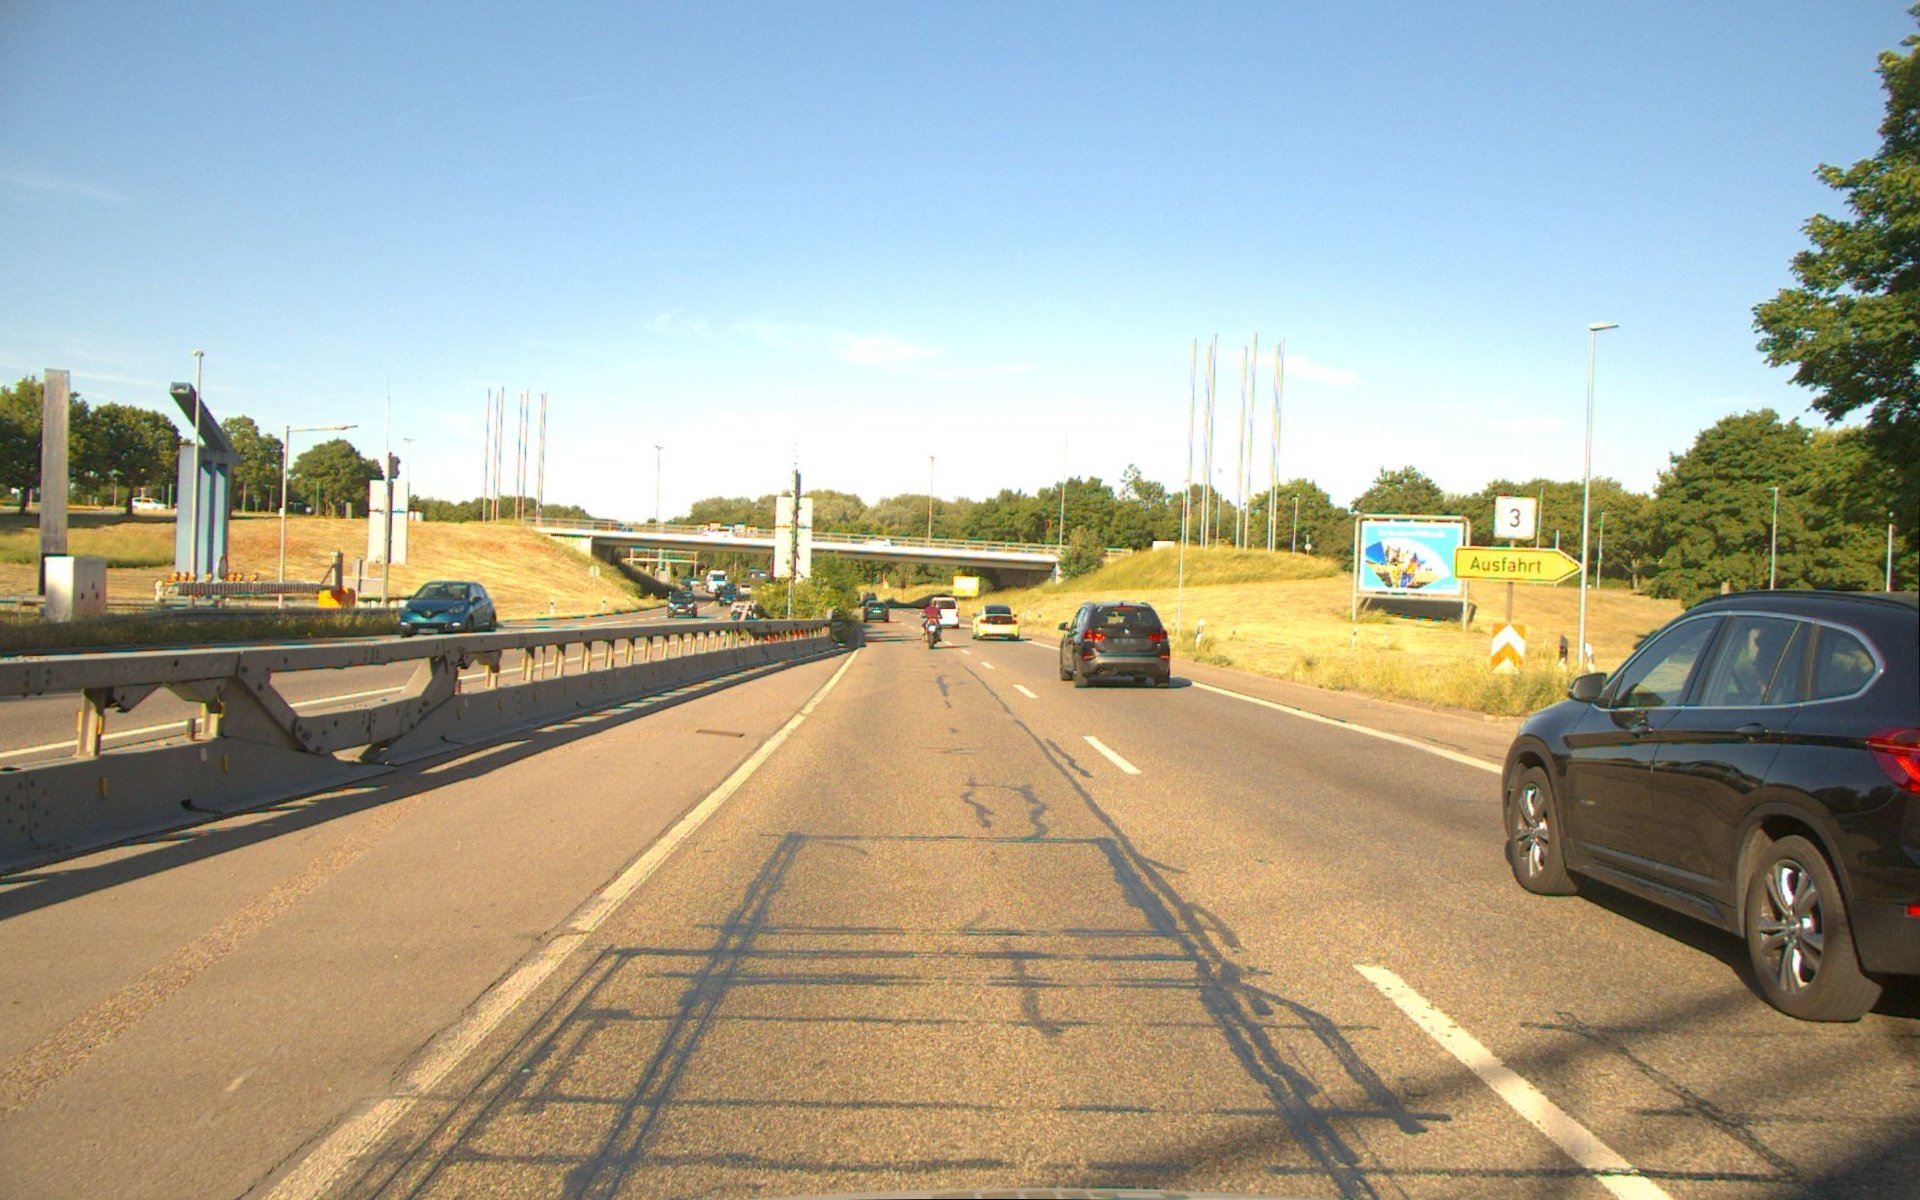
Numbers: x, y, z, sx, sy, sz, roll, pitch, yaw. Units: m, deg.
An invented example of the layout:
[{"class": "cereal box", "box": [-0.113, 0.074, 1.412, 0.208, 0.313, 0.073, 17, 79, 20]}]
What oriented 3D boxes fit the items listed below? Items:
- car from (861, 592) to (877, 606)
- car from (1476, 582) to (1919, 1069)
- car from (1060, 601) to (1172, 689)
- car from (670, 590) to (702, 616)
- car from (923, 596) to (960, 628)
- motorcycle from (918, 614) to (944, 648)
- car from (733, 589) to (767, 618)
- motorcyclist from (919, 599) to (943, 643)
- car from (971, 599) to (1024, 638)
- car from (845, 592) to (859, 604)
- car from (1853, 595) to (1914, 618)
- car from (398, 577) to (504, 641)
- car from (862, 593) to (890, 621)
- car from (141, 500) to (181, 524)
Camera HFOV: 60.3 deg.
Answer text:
[{"class": "car", "box": [-12.008, -0.139, 218.416, 1.831, 1.714, 3.999, 2, 0, -2]}, {"class": "car", "box": [3.967, 0.736, 7.489, 1.720, 1.600, 4.519, 1, 0, -2]}, {"class": "car", "box": [2.888, 0.833, 31.530, 1.664, 1.532, 4.578, -1, -1, 0]}, {"class": "car", "box": [-16.670, 0.178, 100.747, 1.578, 1.511, 3.389, 1, 0, -4]}, {"class": "car", "box": [-1.107, 0.669, 97.213, 1.860, 1.798, 3.996, 0, 0, -5]}, {"class": "motorcycle", "box": [-0.984, 1.047, 56.930, 0.800, 1.088, 2.836, 1, 0, 0]}, {"class": "car", "box": [-12.100, 0.206, 95.264, 1.682, 1.602, 4.160, 1, 0, -4]}, {"class": "motorcyclist", "box": [-0.990, 0.710, 56.762, 0.800, 1.472, 1.094, 1, 0, 0]}, {"class": "car", "box": [1.568, 0.757, 70.028, 1.860, 1.496, 3.997, 0, 1, -4]}, {"class": "car", "box": [-15.468, -0.283, 236.421, 1.831, 1.714, 3.999, 2, 0, -2]}, {"class": "car", "box": [74.664, 0.524, 133.770, 1.842, 1.721, 3.963, 0, 1, -28]}, {"class": "car", "box": [-13.452, 0.215, 43.938, 1.639, 1.600, 4.319, 1, 0, -3]}, {"class": "car", "box": [-5.850, 0.466, 115.876, 1.859, 1.798, 3.998, 2, 0, -3]}, {"class": "car", "box": [-100.404, -11.014, 207.848, 4.218, 2.854, 2.082, 2, 0, 16]}]
